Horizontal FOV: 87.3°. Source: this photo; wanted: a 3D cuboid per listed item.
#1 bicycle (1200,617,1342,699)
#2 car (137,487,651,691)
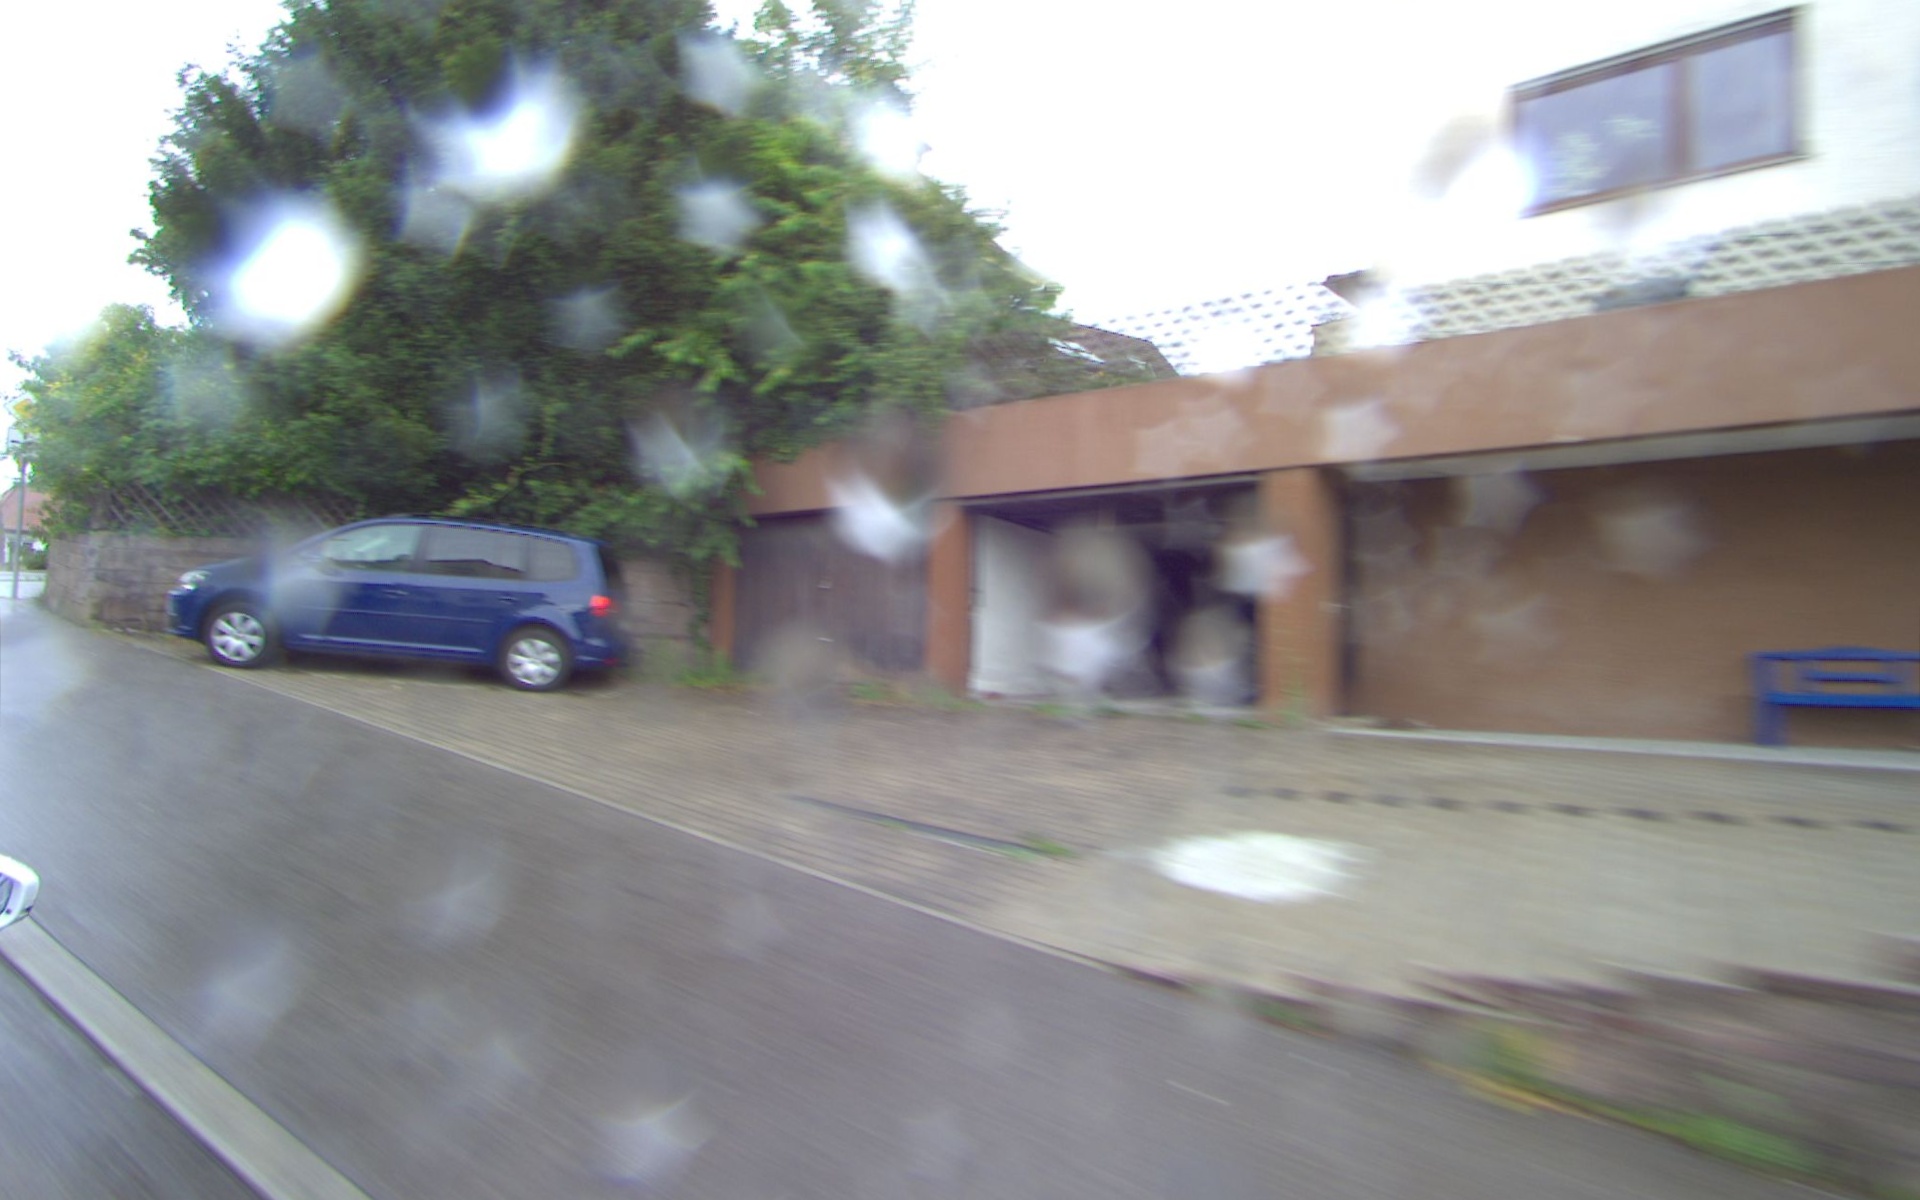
[{"bbox_3d":[4.257,0.767,13.826,1.720,1.017,0.676,1,0,33],"label":"bicycle"},{"bbox_3d":[-5.621,-0.135,10.557,4.266,1.630,1.850,4,4,-11],"label":"car"}]
